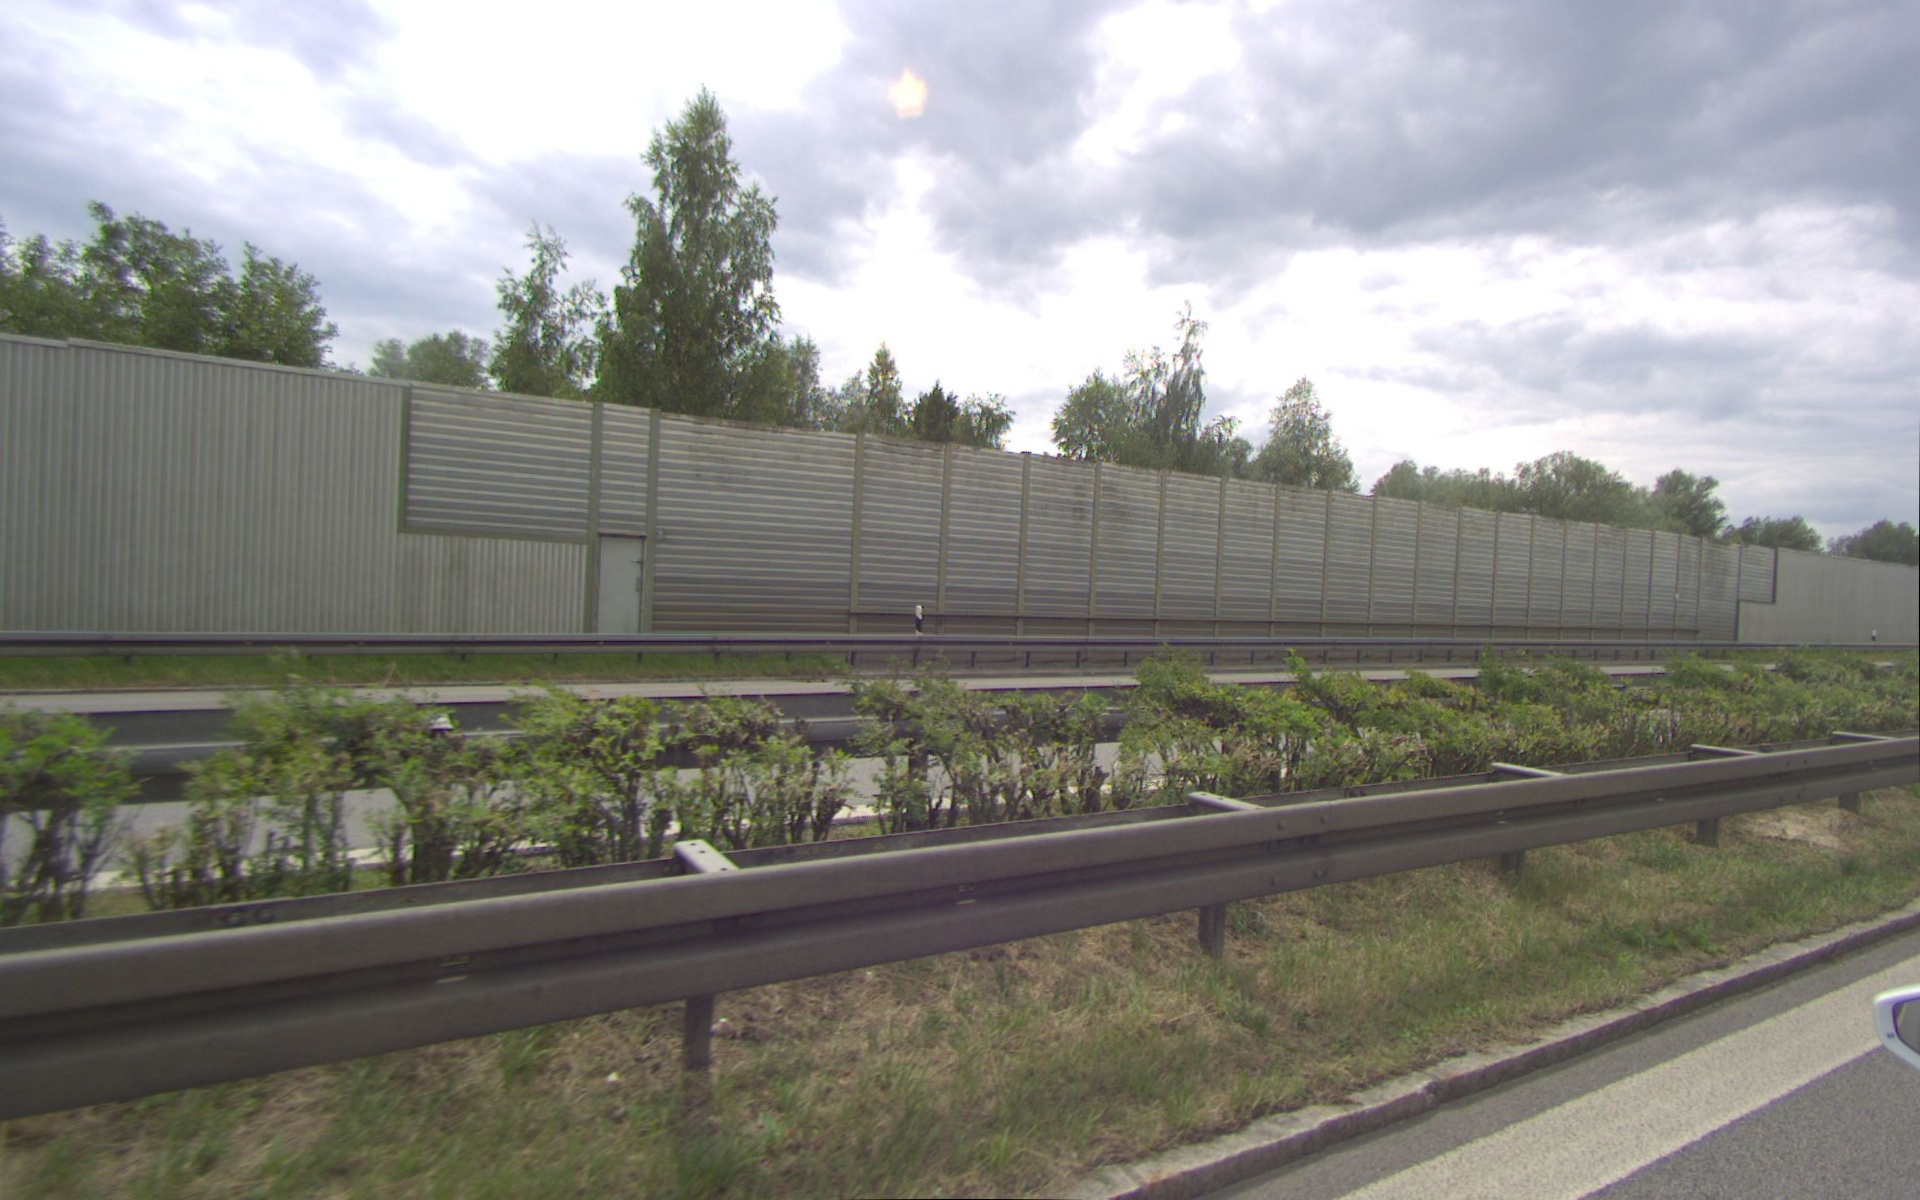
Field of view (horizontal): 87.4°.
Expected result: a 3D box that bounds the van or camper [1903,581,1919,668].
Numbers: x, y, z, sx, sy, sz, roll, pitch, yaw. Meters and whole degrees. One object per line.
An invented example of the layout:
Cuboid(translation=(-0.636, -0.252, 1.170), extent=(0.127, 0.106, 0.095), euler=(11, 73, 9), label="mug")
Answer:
Cuboid(translation=(35.606, 0.911, 34.709), extent=(7.680, 2.907, 2.454), euler=(2, -1, -31), label="van or camper")
